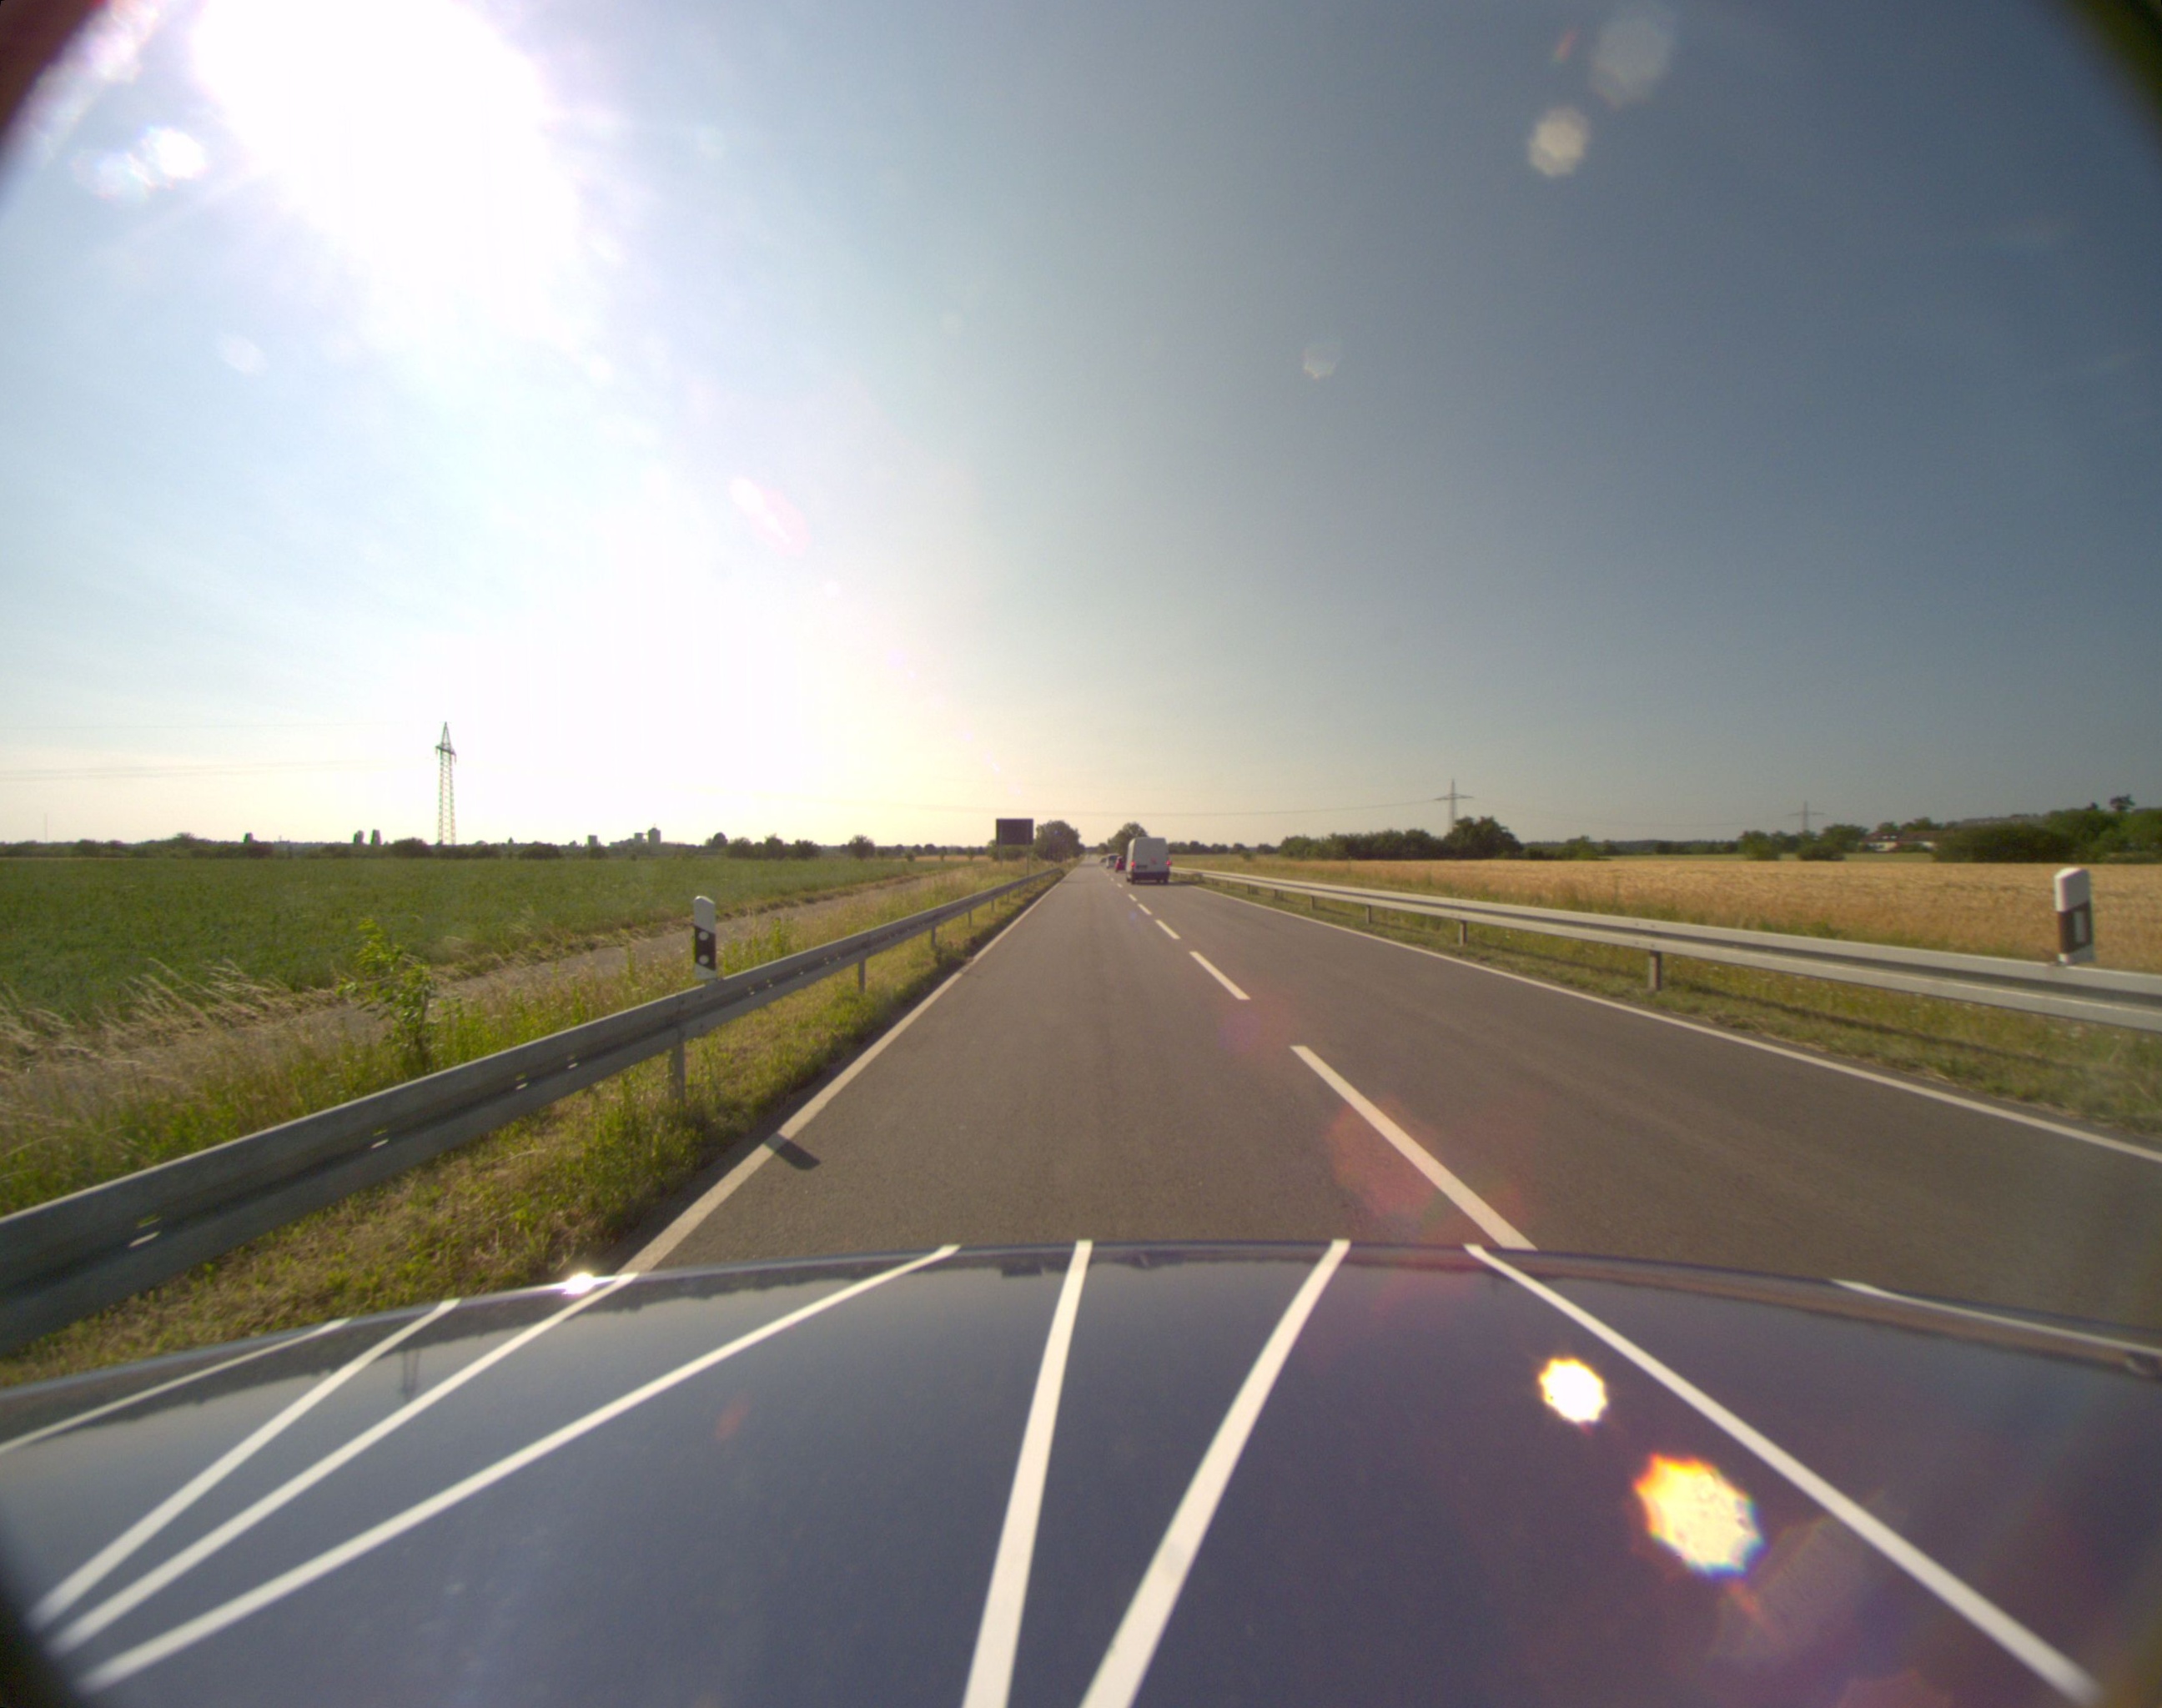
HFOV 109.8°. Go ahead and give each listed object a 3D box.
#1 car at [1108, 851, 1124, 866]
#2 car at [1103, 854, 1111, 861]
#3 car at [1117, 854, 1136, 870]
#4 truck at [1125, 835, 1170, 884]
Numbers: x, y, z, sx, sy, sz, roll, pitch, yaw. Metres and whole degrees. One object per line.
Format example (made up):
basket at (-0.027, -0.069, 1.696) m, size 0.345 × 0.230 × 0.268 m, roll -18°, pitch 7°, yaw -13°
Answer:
car at (4.402, 0.546, 96.307) m, size 1.841 × 1.776 × 4.434 m, roll -1°, pitch 0°, yaw 1°
car at (6.048, 0.801, 178.869) m, size 1.731 × 1.429 × 4.516 m, roll -1°, pitch 1°, yaw 0°
car at (4.295, 0.724, 72.477) m, size 1.610 × 1.479 × 3.780 m, roll -1°, pitch 0°, yaw 1°
truck at (3.642, 0.272, 42.521) m, size 1.998 × 2.505 × 6.243 m, roll -1°, pitch 0°, yaw 1°
